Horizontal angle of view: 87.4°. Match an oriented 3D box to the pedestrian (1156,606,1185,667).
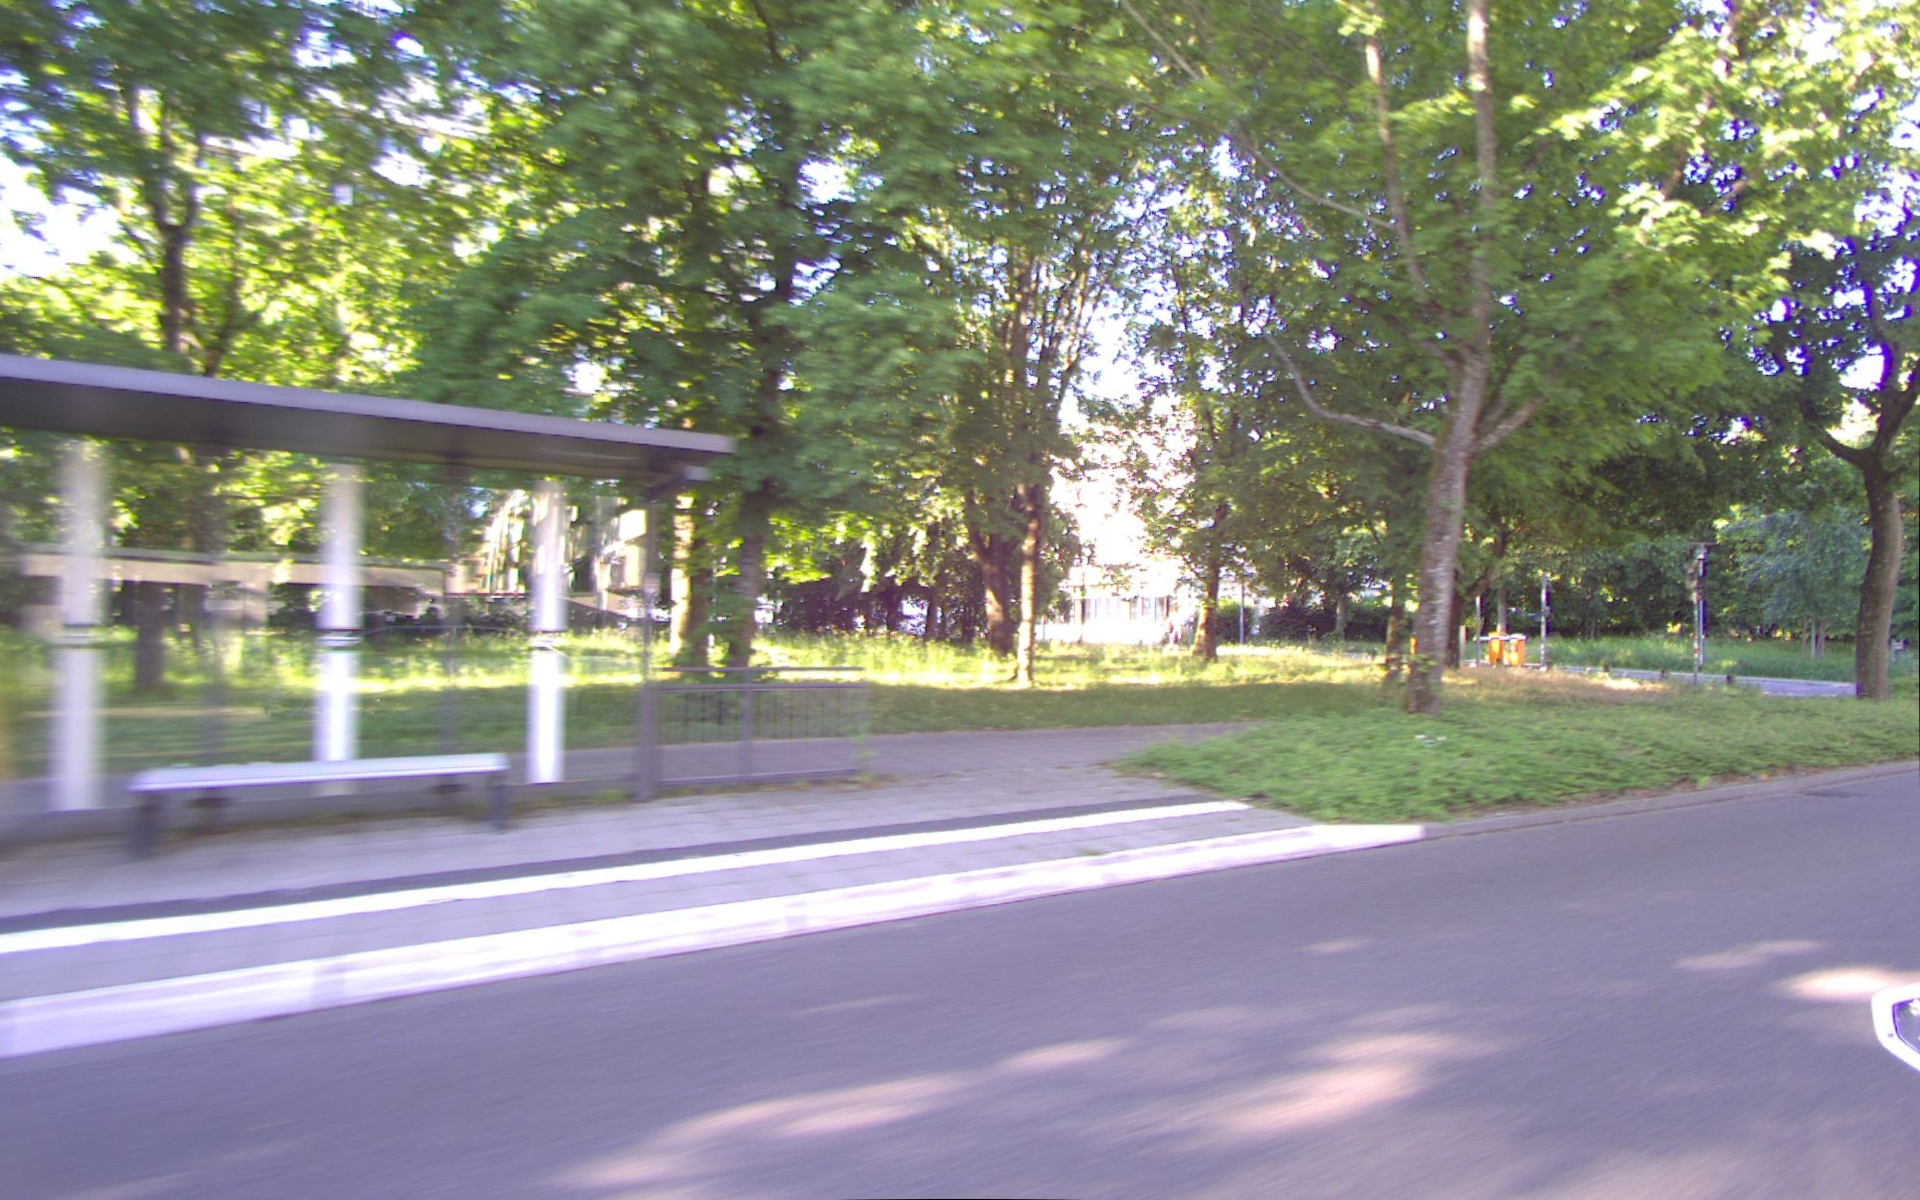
[{"bbox_3d":[7.209,1.241,34.433,0.584,2.040,0.752,2,0,-33],"label":"pedestrian"}]
